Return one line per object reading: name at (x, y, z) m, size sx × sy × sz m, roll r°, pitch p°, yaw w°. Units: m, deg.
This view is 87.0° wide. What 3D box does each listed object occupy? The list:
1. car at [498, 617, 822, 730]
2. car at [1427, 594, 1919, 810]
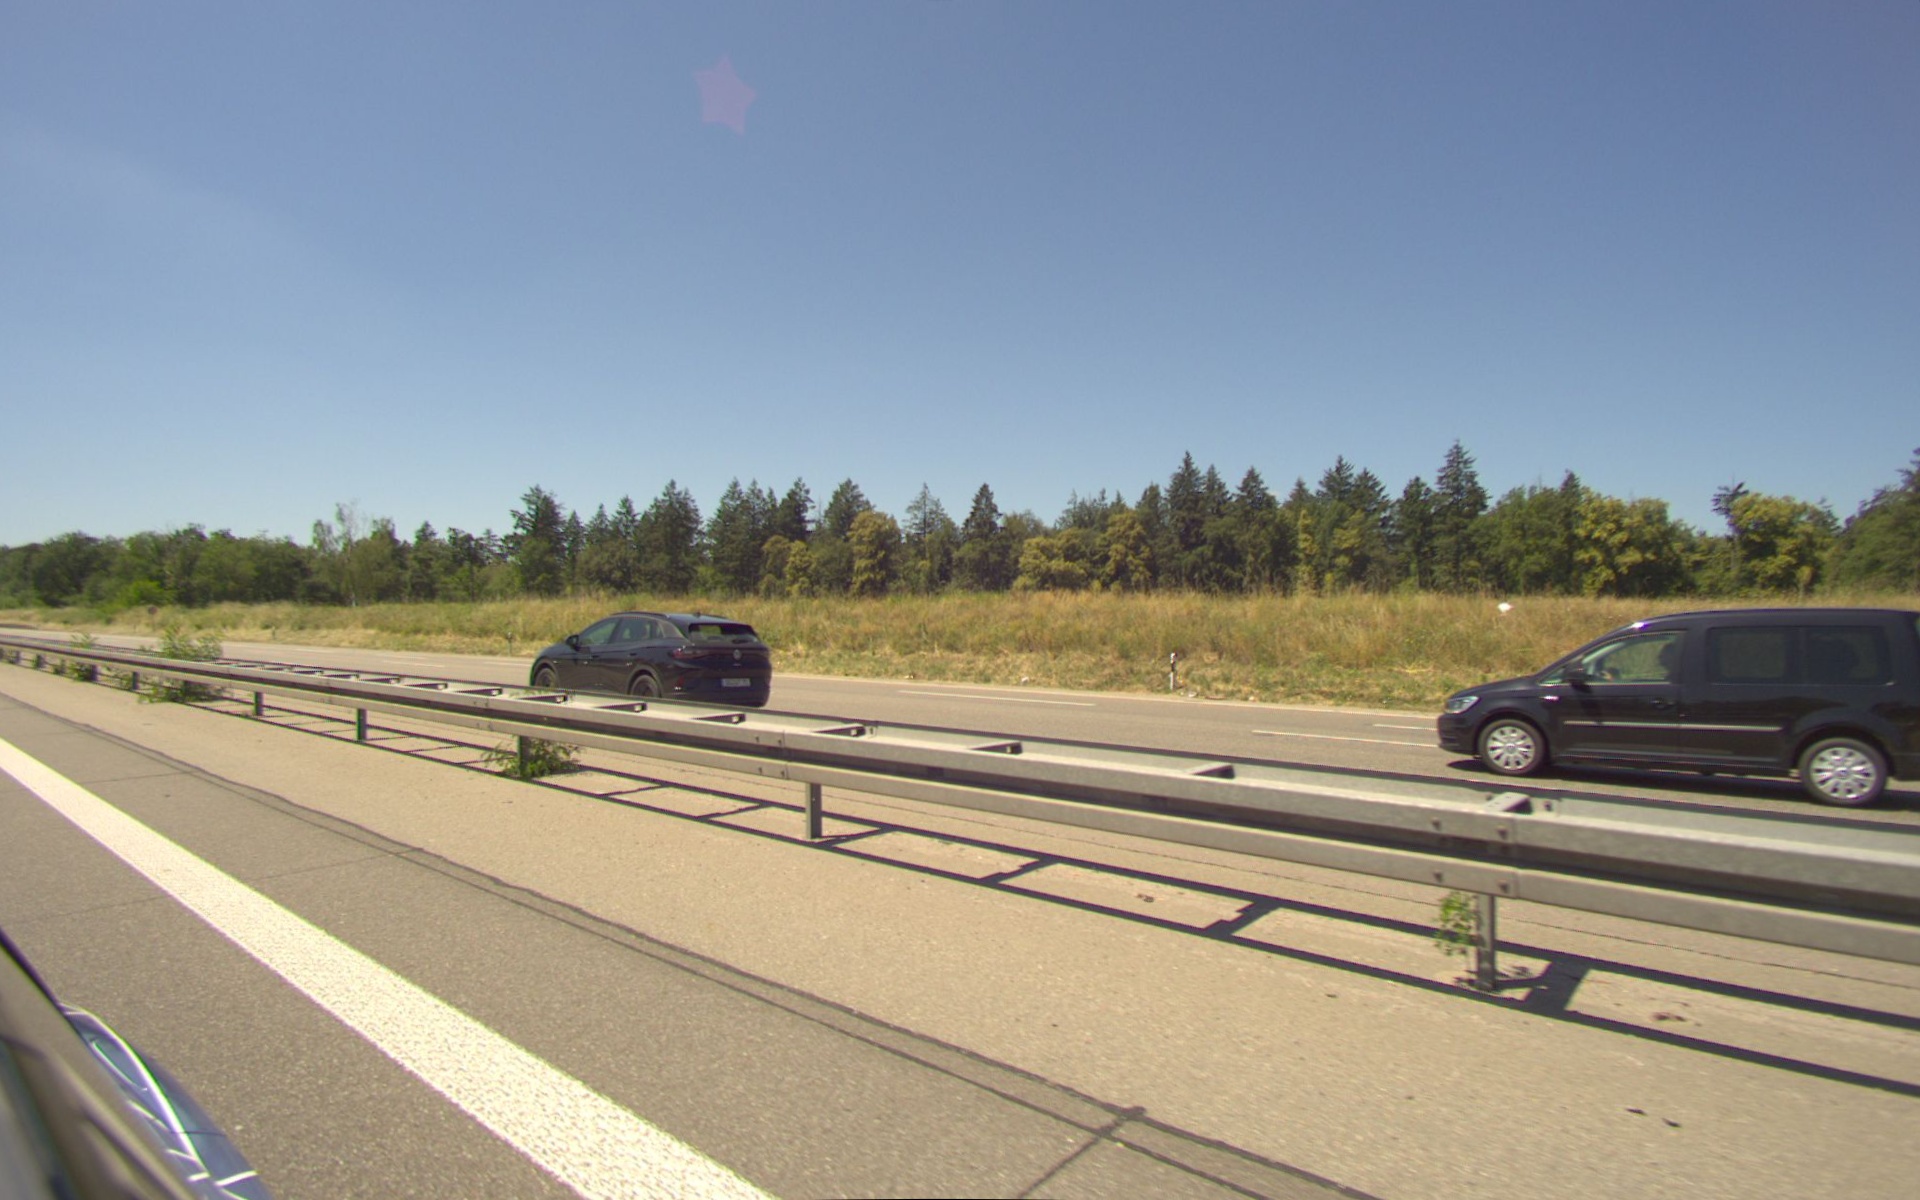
car at (-4.720, 1.032, 15.453) m, size 5.296 × 1.435 × 2.205 m, roll -1°, pitch -4°, yaw 41°
car at (7.851, 0.937, 10.262) m, size 5.296 × 1.826 × 2.205 m, roll -1°, pitch -4°, yaw 41°
